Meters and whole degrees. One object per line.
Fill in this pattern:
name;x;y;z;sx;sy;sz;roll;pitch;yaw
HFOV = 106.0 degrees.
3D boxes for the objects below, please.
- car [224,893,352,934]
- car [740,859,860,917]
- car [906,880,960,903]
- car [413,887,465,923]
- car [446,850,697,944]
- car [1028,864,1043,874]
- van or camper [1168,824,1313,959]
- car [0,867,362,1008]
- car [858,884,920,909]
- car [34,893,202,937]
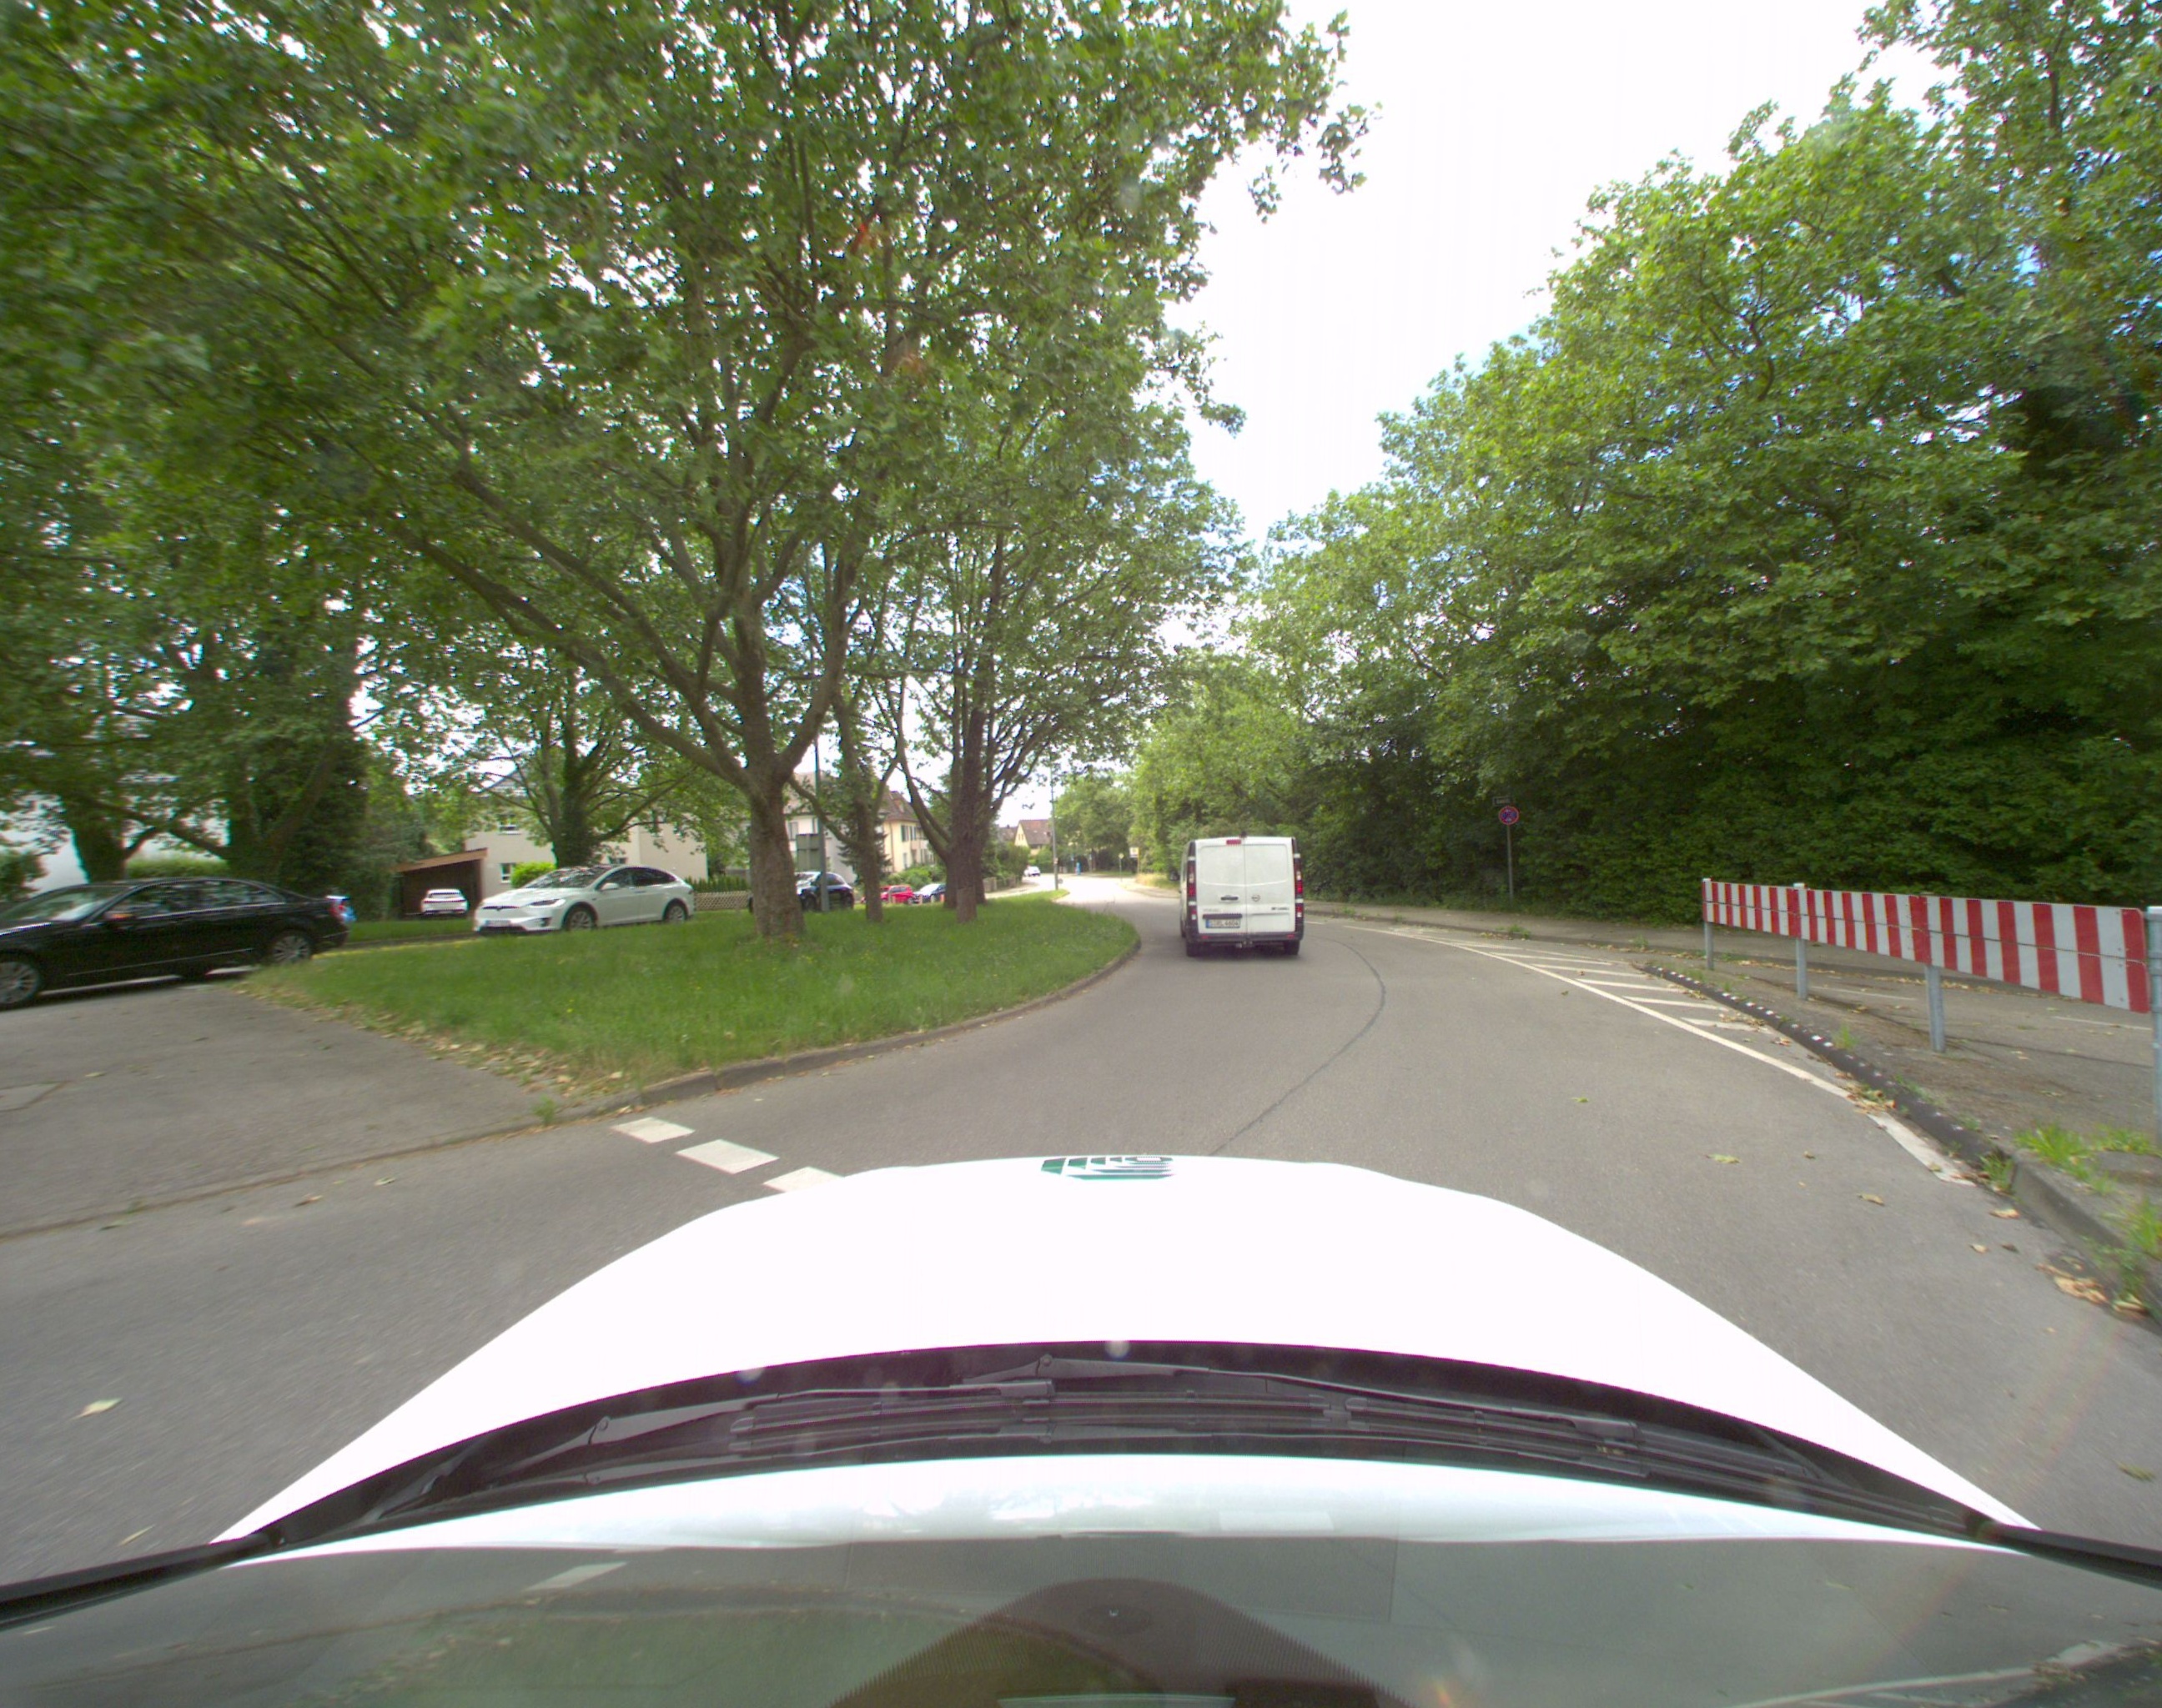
car;-34.532;2.570;35.613;3.796;1.555;1.763;1;0;-37
car;-9.193;1.046;27.132;1.747;1.591;4.625;-2;1;9
car;-11.120;2.834;61.461;1.711;1.474;4.340;-3;-1;25
car;-33.384;2.619;42.409;1.884;1.547;3.343;-4;2;-35
car;-10.895;0.819;17.984;1.840;1.658;4.919;-2;1;9
car;-7.688;2.553;136.344;1.731;1.474;3.362;-2;-1;-17
van or camper;2.709;0.522;14.913;1.916;2.013;4.834;-2;1;3
car;-12.266;0.948;10.474;1.747;1.517;4.397;-2;-1;9
car;-13.419;2.941;57.185;1.710;1.474;4.305;-3;-1;30
car;-38.612;2.408;32.808;4.012;1.514;1.644;1;0;-34
